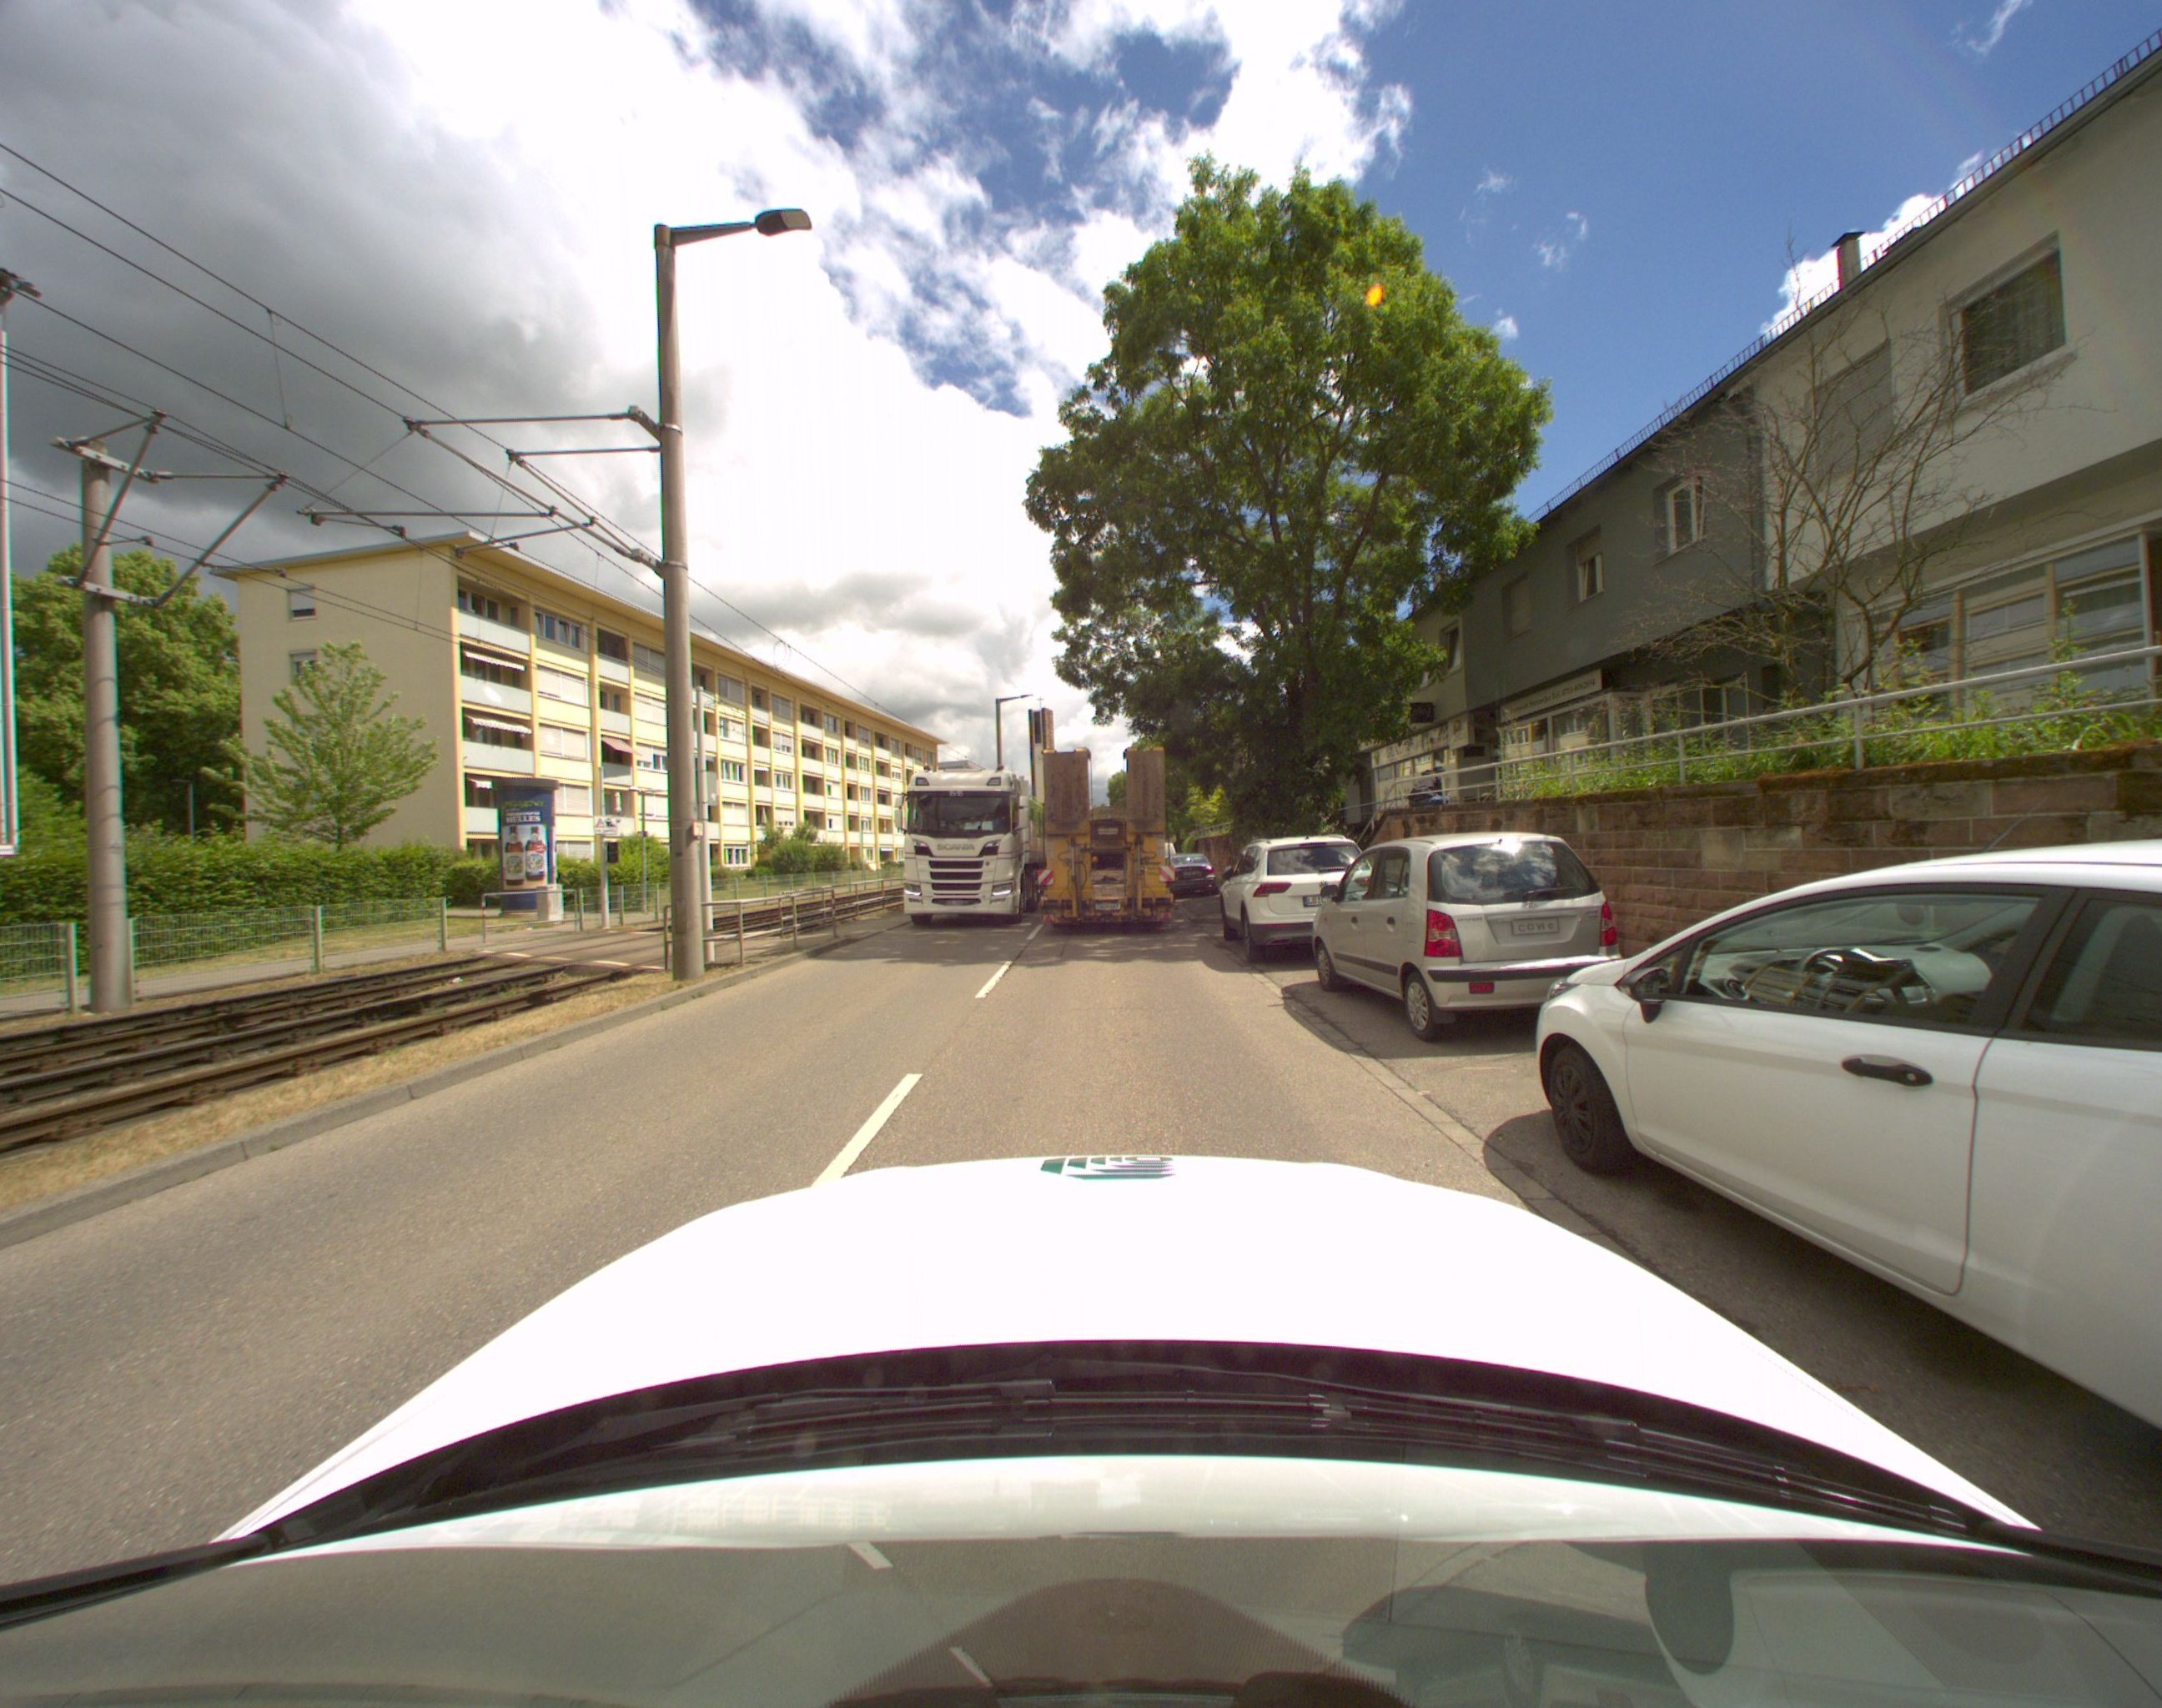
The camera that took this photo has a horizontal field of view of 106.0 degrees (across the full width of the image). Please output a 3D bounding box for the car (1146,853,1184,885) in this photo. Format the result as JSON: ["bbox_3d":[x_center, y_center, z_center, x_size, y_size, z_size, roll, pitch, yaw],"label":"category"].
[{"bbox_3d":[4.115,0.694,40.214,1.614,1.405,3.652,-3,0,3],"label":"car"}]

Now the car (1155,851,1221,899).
[{"bbox_3d":[3.581,0.670,27.900,1.828,1.405,4.417,-3,0,3],"label":"car"}]

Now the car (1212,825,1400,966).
[{"bbox_3d":[3.162,0.505,12.434,1.816,1.682,4.580,-3,0,4],"label":"car"}]

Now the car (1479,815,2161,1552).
[{"bbox_3d":[3.004,0.636,2.598,1.639,1.490,3.823,-2,0,1],"label":"car"}]

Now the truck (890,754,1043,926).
[{"bbox_3d":[-2.553,-0.313,20.192,2.688,3.580,6.147,-1,0,2],"label":"truck"}]

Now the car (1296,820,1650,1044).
[{"bbox_3d":[3.261,0.546,7.557,1.576,1.552,3.474,-2,0,0],"label":"car"}]

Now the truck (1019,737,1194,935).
[{"bbox_3d":[0.687,-0.371,21.259,3.112,3.564,12.465,-2,0,2],"label":"truck"}]

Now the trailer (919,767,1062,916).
[{"bbox_3d":[-2.353,-0.355,26.623,2.688,3.580,13.680,-1,0,2],"label":"trailer"}]

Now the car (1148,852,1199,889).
[{"bbox_3d":[3.912,0.681,35.030,1.685,1.405,4.068,-3,0,0],"label":"car"}]

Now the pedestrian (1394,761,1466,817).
[{"bbox_3d":[5.402,-0.993,12.639,0.792,0.790,0.705,-2,0,0],"label":"pedestrian"}]

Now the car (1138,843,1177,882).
[{"bbox_3d":[4.227,0.430,45.632,1.792,1.968,4.592,-3,0,2],"label":"car"}]
